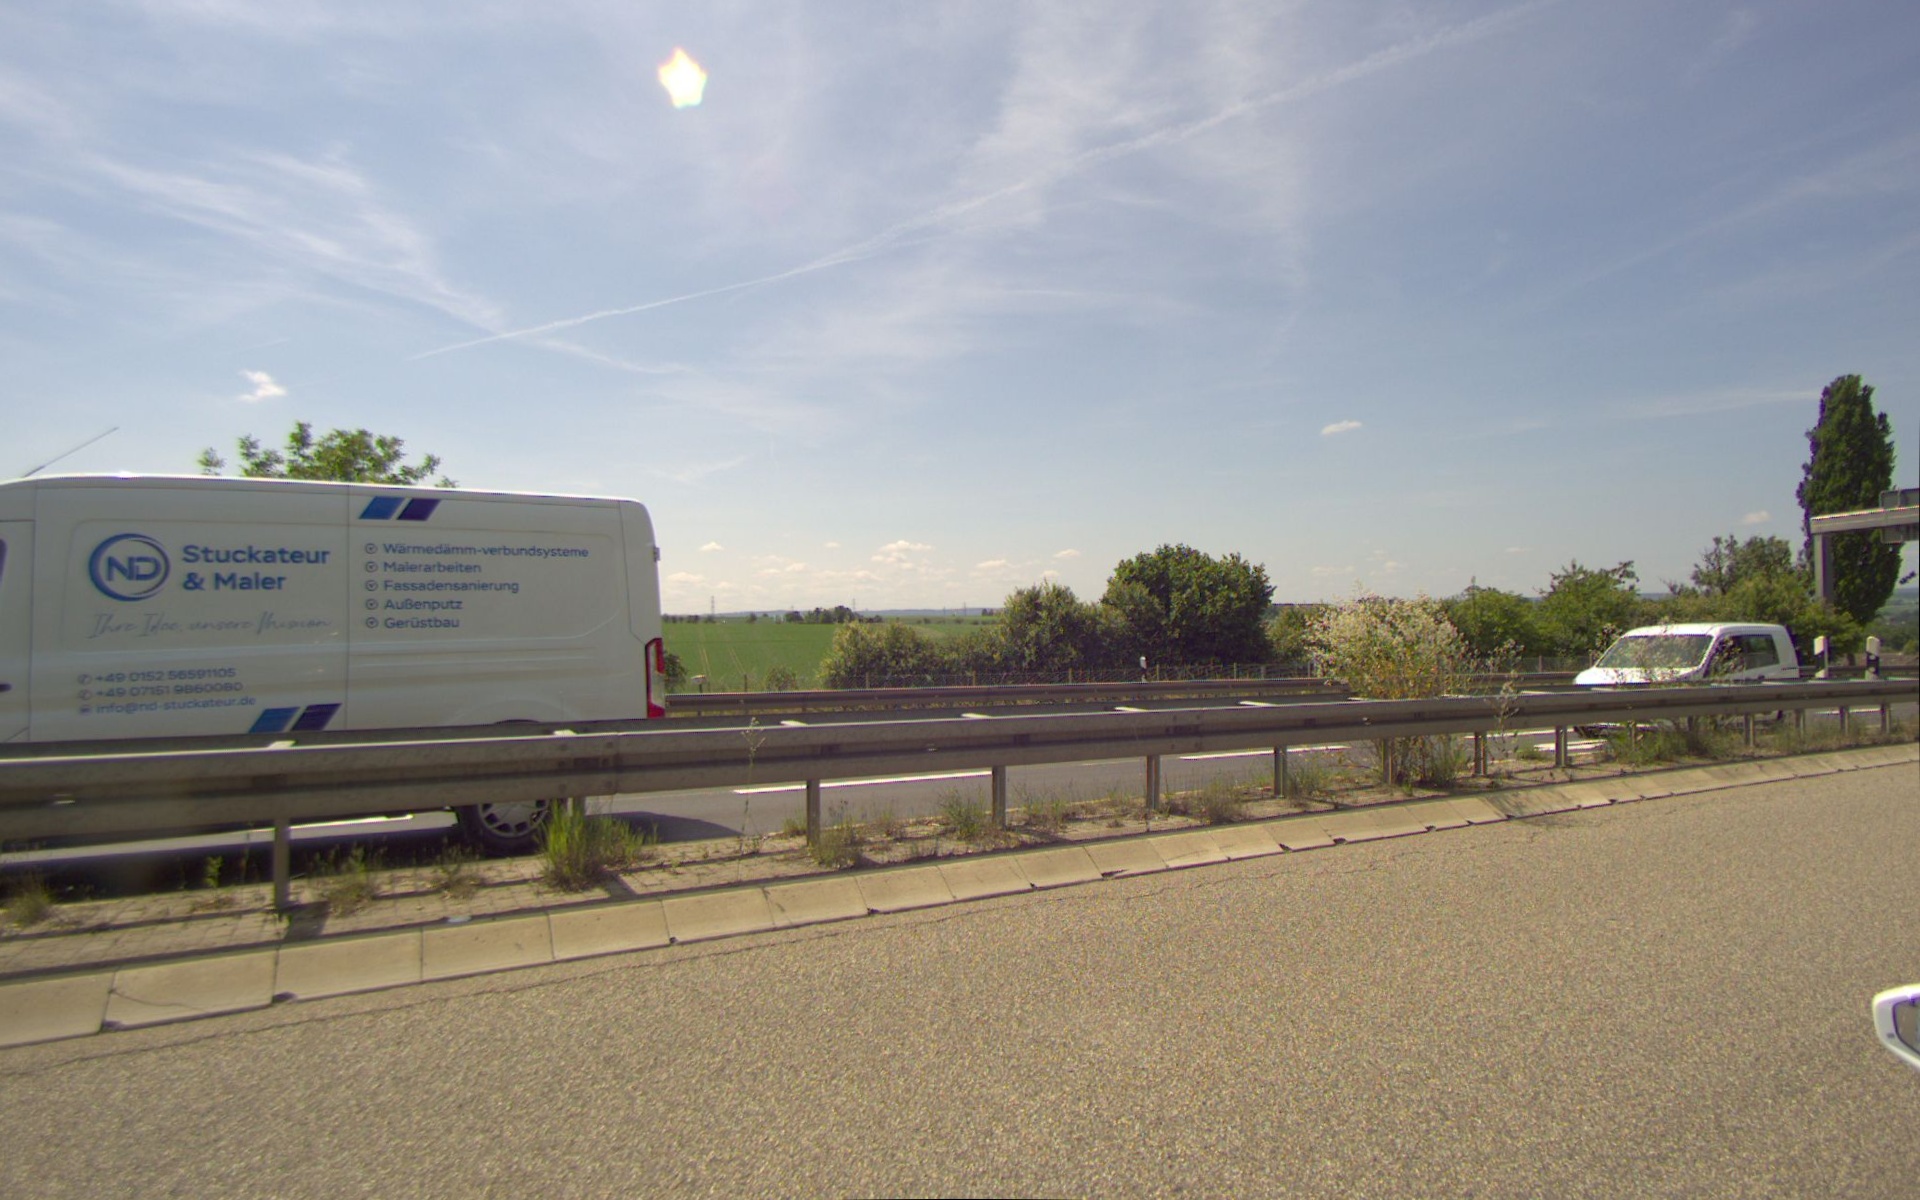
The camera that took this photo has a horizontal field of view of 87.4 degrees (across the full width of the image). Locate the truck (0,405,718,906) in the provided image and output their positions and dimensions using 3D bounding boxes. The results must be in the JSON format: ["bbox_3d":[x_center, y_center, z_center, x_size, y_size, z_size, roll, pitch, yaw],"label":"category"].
[{"bbox_3d":[-4.821,0.365,6.672,5.949,2.654,2.031,1,-4,-31],"label":"truck"}]

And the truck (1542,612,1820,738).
[{"bbox_3d":[11.614,1.196,16.135,4.482,1.771,1.842,2,-5,-29],"label":"truck"}]
